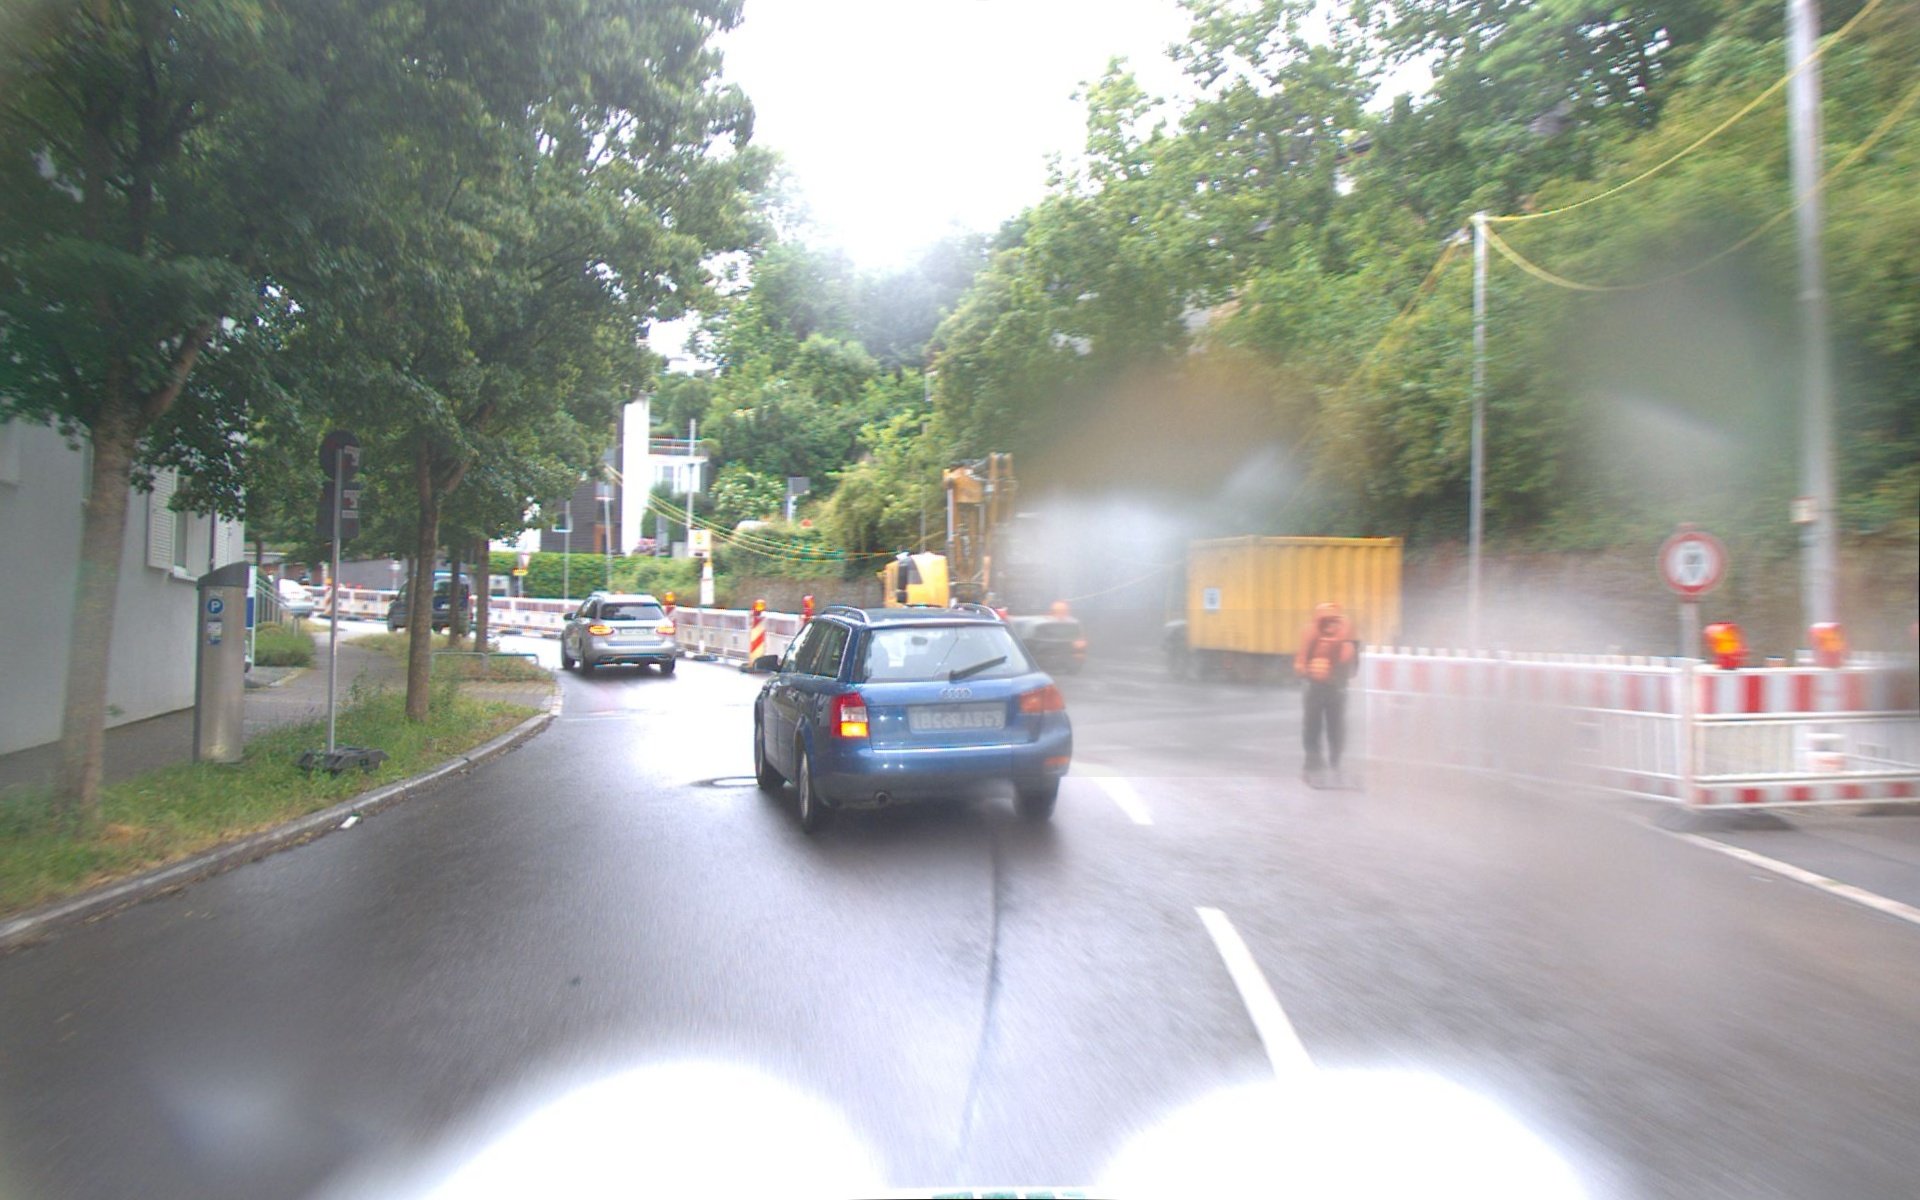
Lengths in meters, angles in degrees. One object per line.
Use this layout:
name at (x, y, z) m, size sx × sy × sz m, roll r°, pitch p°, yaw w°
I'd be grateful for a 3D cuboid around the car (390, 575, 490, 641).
car at (-15.707, 0.256, 49.815) m, size 1.974 × 1.825 × 3.957 m, roll -2°, pitch 0°, yaw -31°

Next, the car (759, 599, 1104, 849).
car at (-0.386, 0.734, 11.969) m, size 1.755 × 1.467 × 3.951 m, roll 0°, pitch 0°, yaw -13°

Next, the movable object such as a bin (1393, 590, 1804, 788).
movable object such as a bin at (5.687, 0.701, 15.335) m, size 1.955 × 1.546 × 3.995 m, roll 0°, pitch 1°, yaw -6°

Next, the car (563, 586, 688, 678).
car at (-6.583, 0.562, 32.218) m, size 1.897 × 1.646 × 4.298 m, roll -1°, pitch 1°, yaw -18°

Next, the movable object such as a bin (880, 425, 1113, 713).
movable object such as a bin at (0.360, -0.496, 27.220) m, size 2.766 × 4.084 × 7.316 m, roll -1°, pitch 1°, yaw -7°

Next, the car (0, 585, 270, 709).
car at (-11.920, 0.637, 23.057) m, size 3.915 × 1.588 × 1.745 m, roll -1°, pitch 0°, yaw -11°

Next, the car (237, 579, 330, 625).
car at (-24.668, 0.074, 60.254) m, size 4.008 × 1.512 × 1.714 m, roll -3°, pitch 0°, yaw 45°
